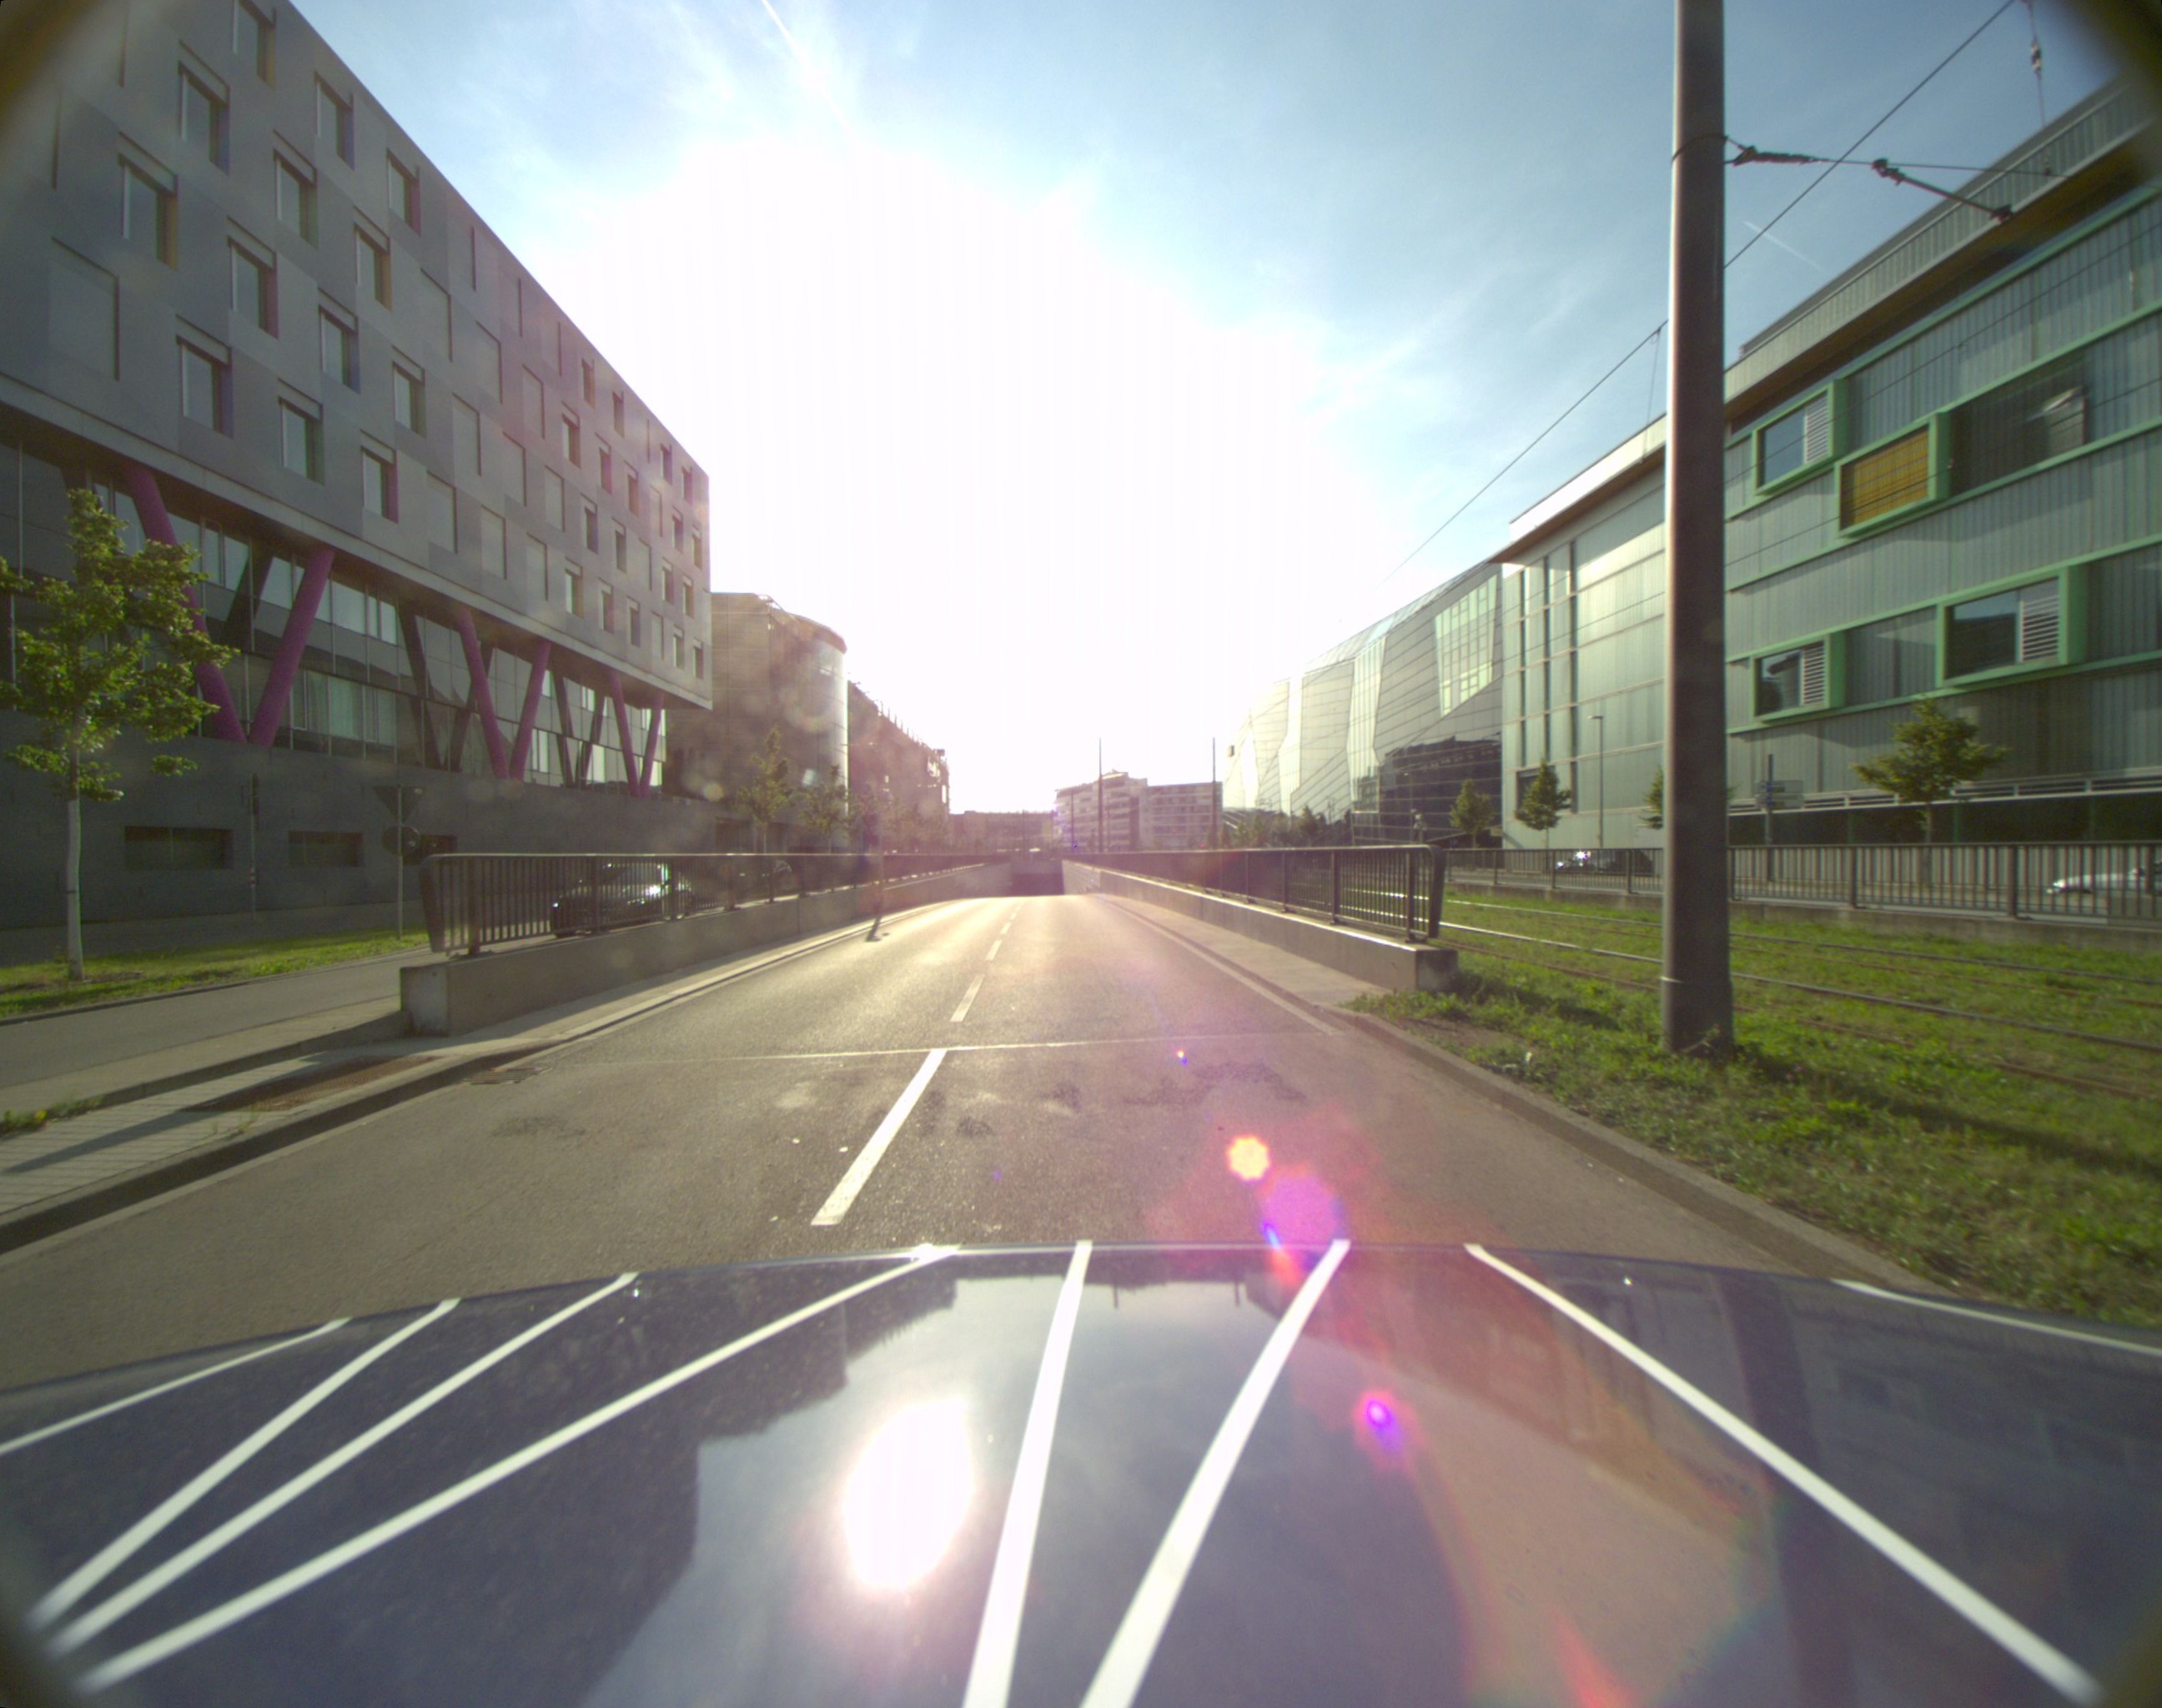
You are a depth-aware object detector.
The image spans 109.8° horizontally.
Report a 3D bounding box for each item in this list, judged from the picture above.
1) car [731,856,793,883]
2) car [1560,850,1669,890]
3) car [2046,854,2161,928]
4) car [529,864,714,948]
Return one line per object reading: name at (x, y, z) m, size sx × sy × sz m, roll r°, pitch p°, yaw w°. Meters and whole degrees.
car at (-18.765, 0.892, 44.911) m, size 1.895 × 1.418 × 4.471 m, roll -2°, pitch 1°, yaw -3°
car at (22.804, 0.648, 32.676) m, size 1.775 × 1.597 × 4.027 m, roll -1°, pitch 0°, yaw -3°
car at (22.790, 0.742, 15.219) m, size 1.775 × 1.478 × 4.027 m, roll -1°, pitch 0°, yaw -2°
car at (-9.655, 0.995, 16.459) m, size 1.845 × 1.441 × 4.551 m, roll -2°, pitch 0°, yaw -10°
